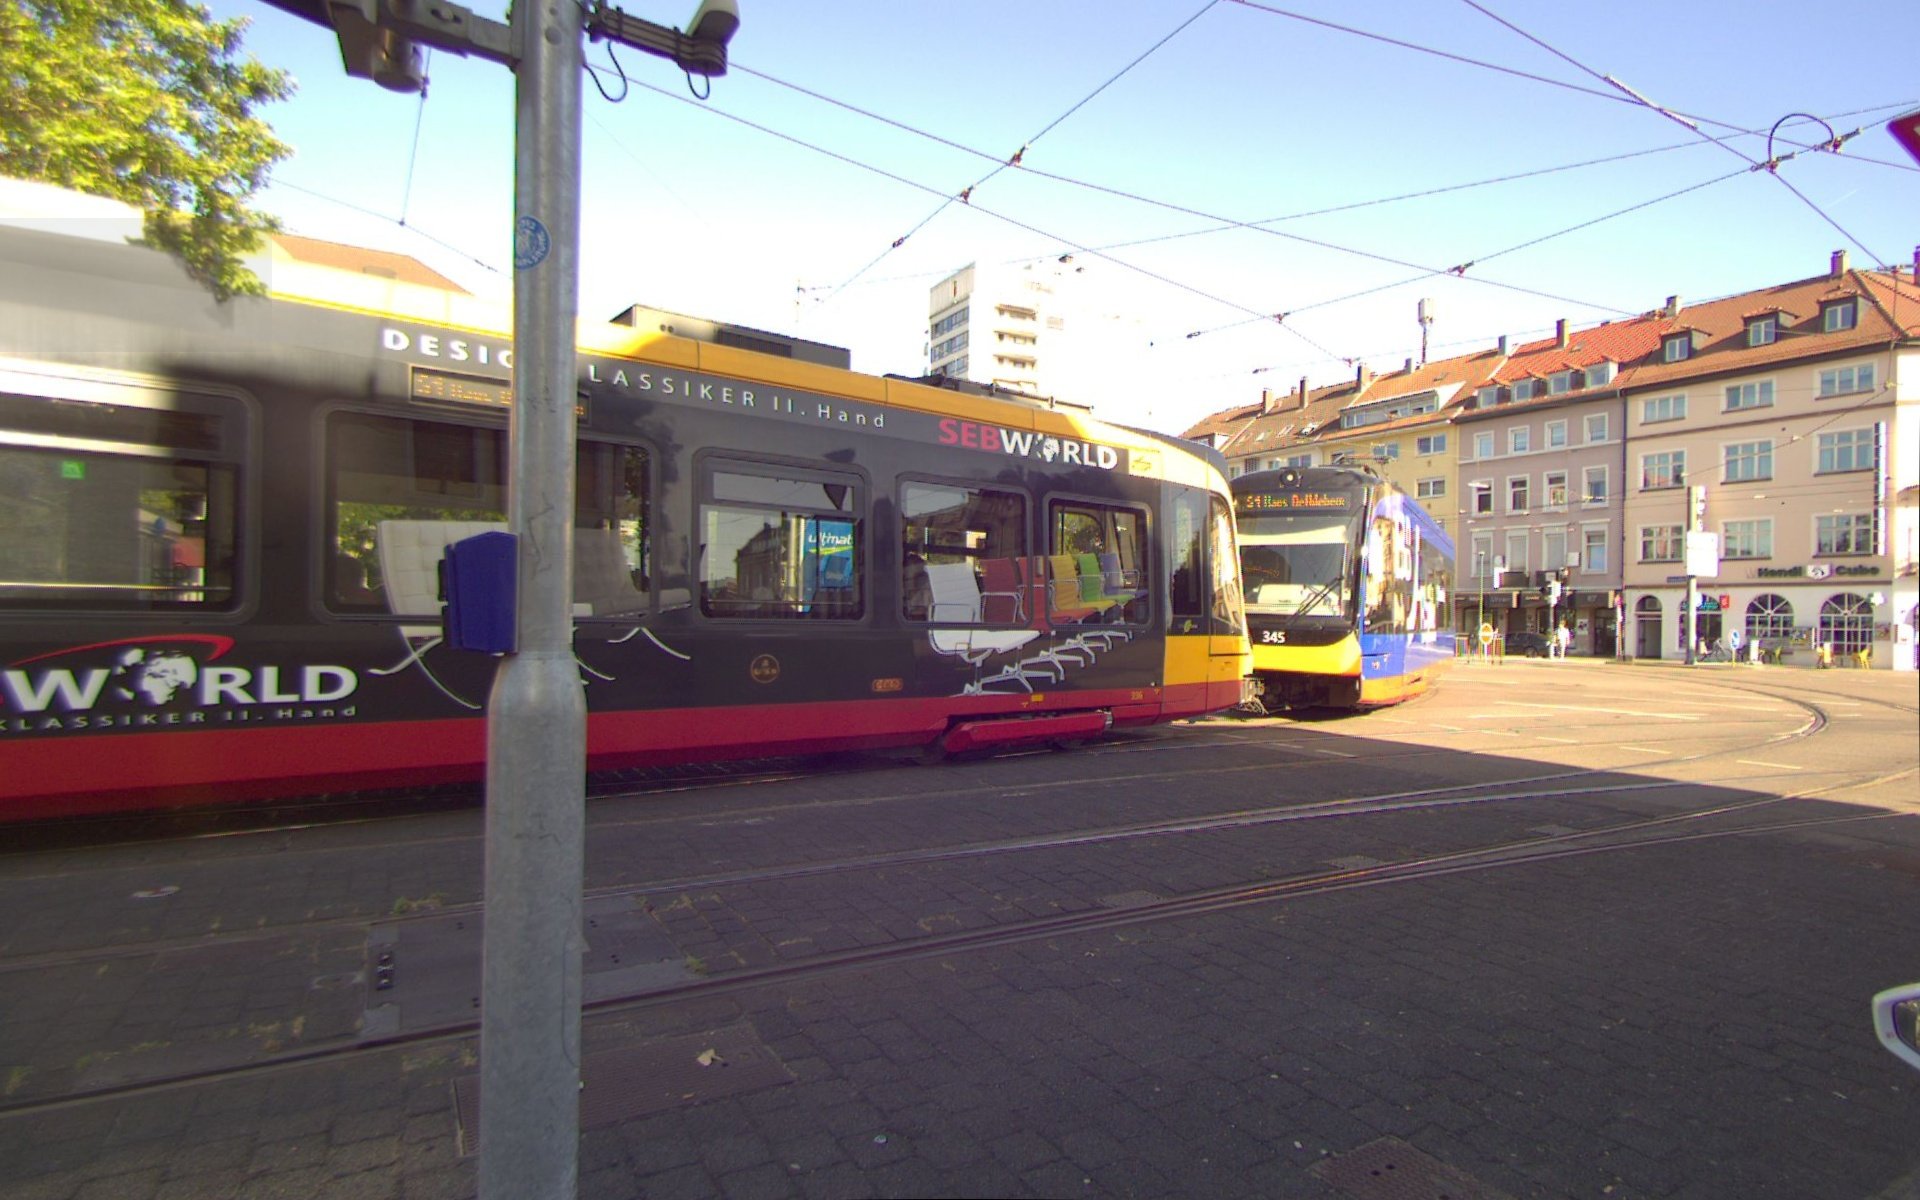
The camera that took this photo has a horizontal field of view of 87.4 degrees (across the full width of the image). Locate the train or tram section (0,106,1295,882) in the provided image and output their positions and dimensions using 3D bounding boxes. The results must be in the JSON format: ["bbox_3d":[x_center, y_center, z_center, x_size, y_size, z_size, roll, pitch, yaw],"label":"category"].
[{"bbox_3d":[-1.738,-0.385,8.985,12.011,3.661,3.031,2,-1,-39],"label":"train or tram section"}]

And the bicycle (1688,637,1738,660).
[{"bbox_3d":[37.668,2.440,50.273,0.578,1.081,1.929,1,-1,-36],"label":"bicycle"}]

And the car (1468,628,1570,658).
[{"bbox_3d":[30.585,2.323,55.095,1.725,1.459,4.614,2,-1,-32],"label":"car"}]

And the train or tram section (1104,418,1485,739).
[{"bbox_3d":[6.558,-0.114,17.320,3.014,3.661,12.077,0,-1,34],"label":"train or tram section"}]

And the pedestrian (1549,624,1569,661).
[{"bbox_3d":[27.533,1.956,46.172,0.715,1.648,0.669,0,-1,34],"label":"pedestrian"}]

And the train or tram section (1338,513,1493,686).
[{"bbox_3d":[12.086,0.112,27.750,3.005,3.661,12.502,1,-1,20],"label":"train or tram section"}]
